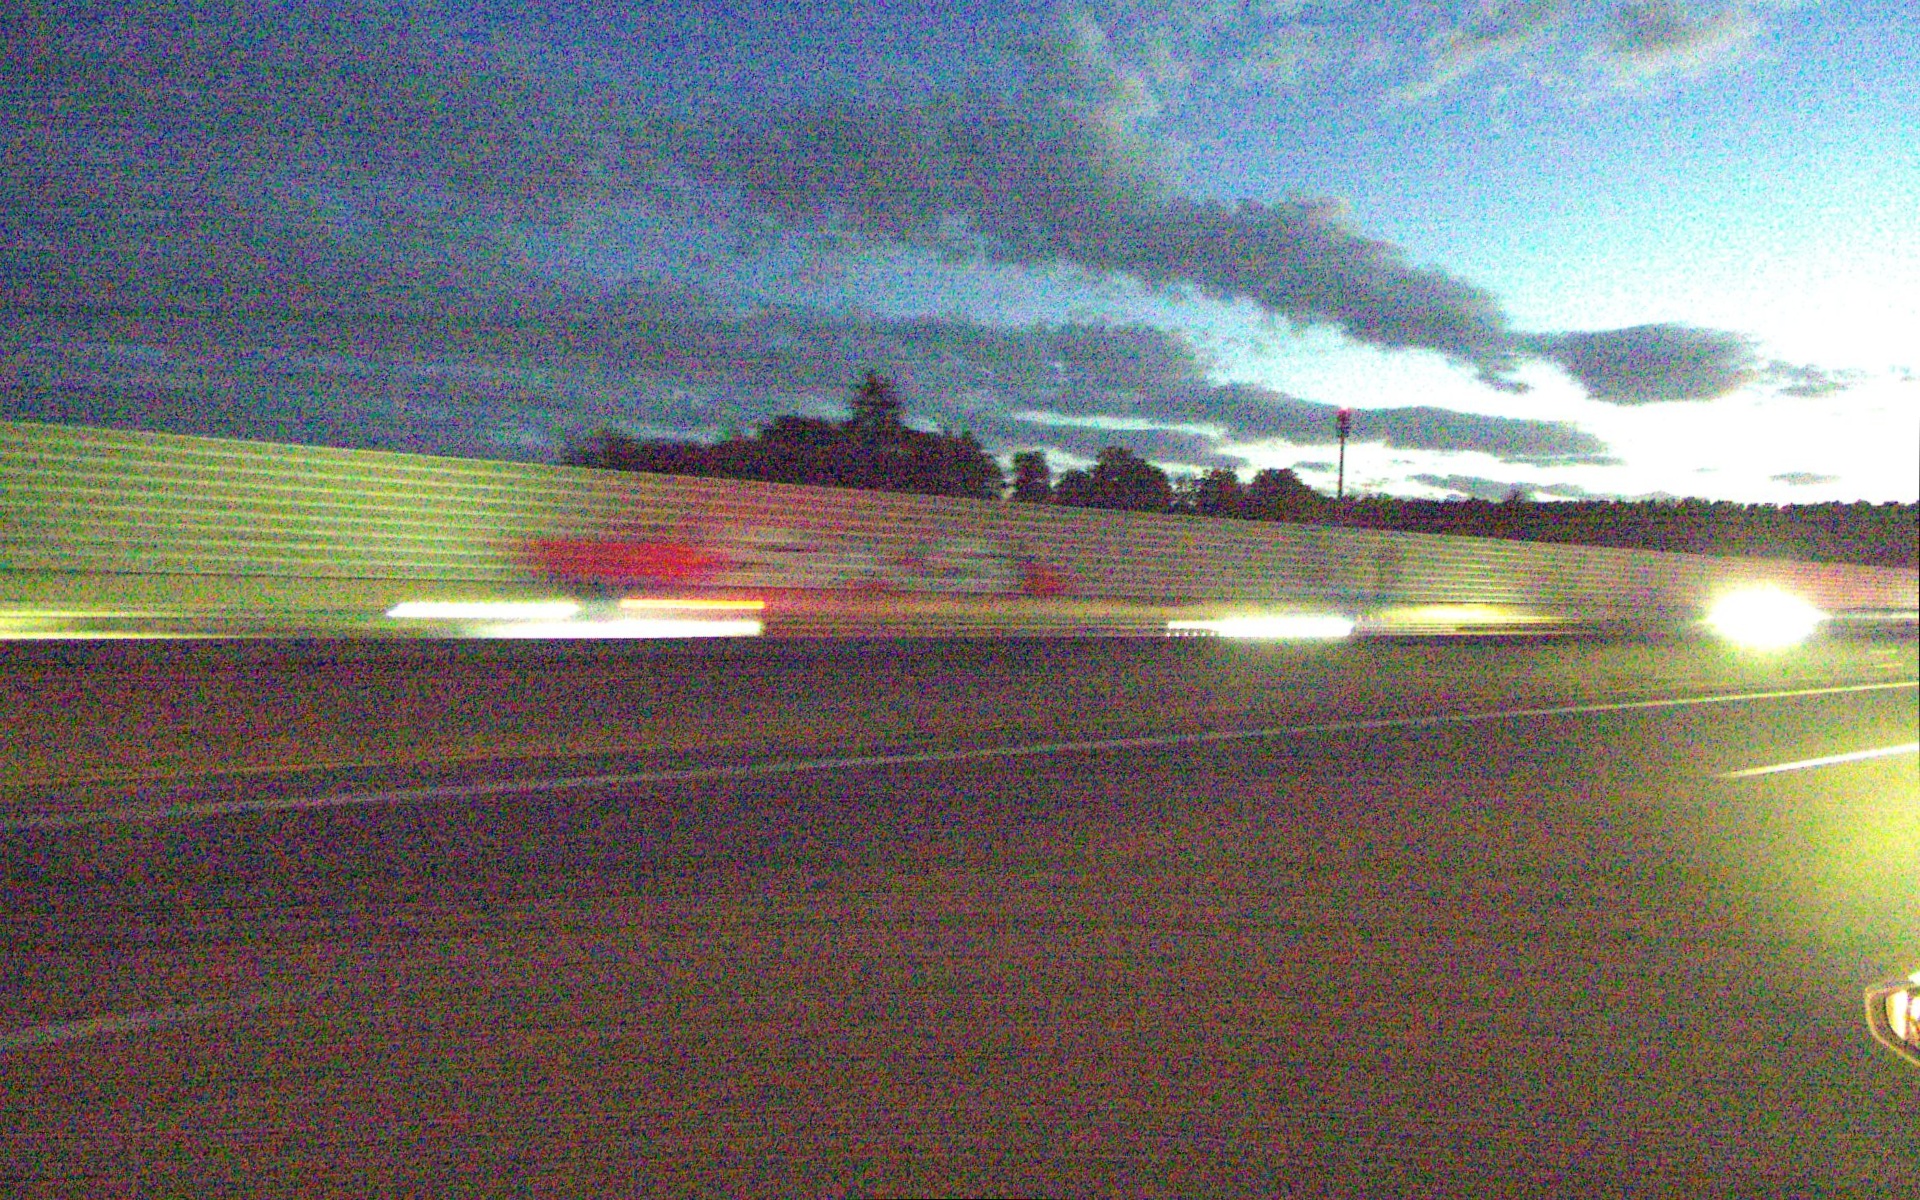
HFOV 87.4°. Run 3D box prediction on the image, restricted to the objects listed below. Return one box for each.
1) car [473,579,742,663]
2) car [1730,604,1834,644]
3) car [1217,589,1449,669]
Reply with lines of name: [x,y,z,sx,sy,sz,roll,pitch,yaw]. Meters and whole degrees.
car: [-7.396,0.434,21.224,5.050,1.576,2.108,1,0,-31]
car: [40.467,1.183,49.407,5.872,1.805,2.043,1,0,-31]
car: [8.313,0.622,22.266,5.050,1.576,2.108,1,0,-31]
